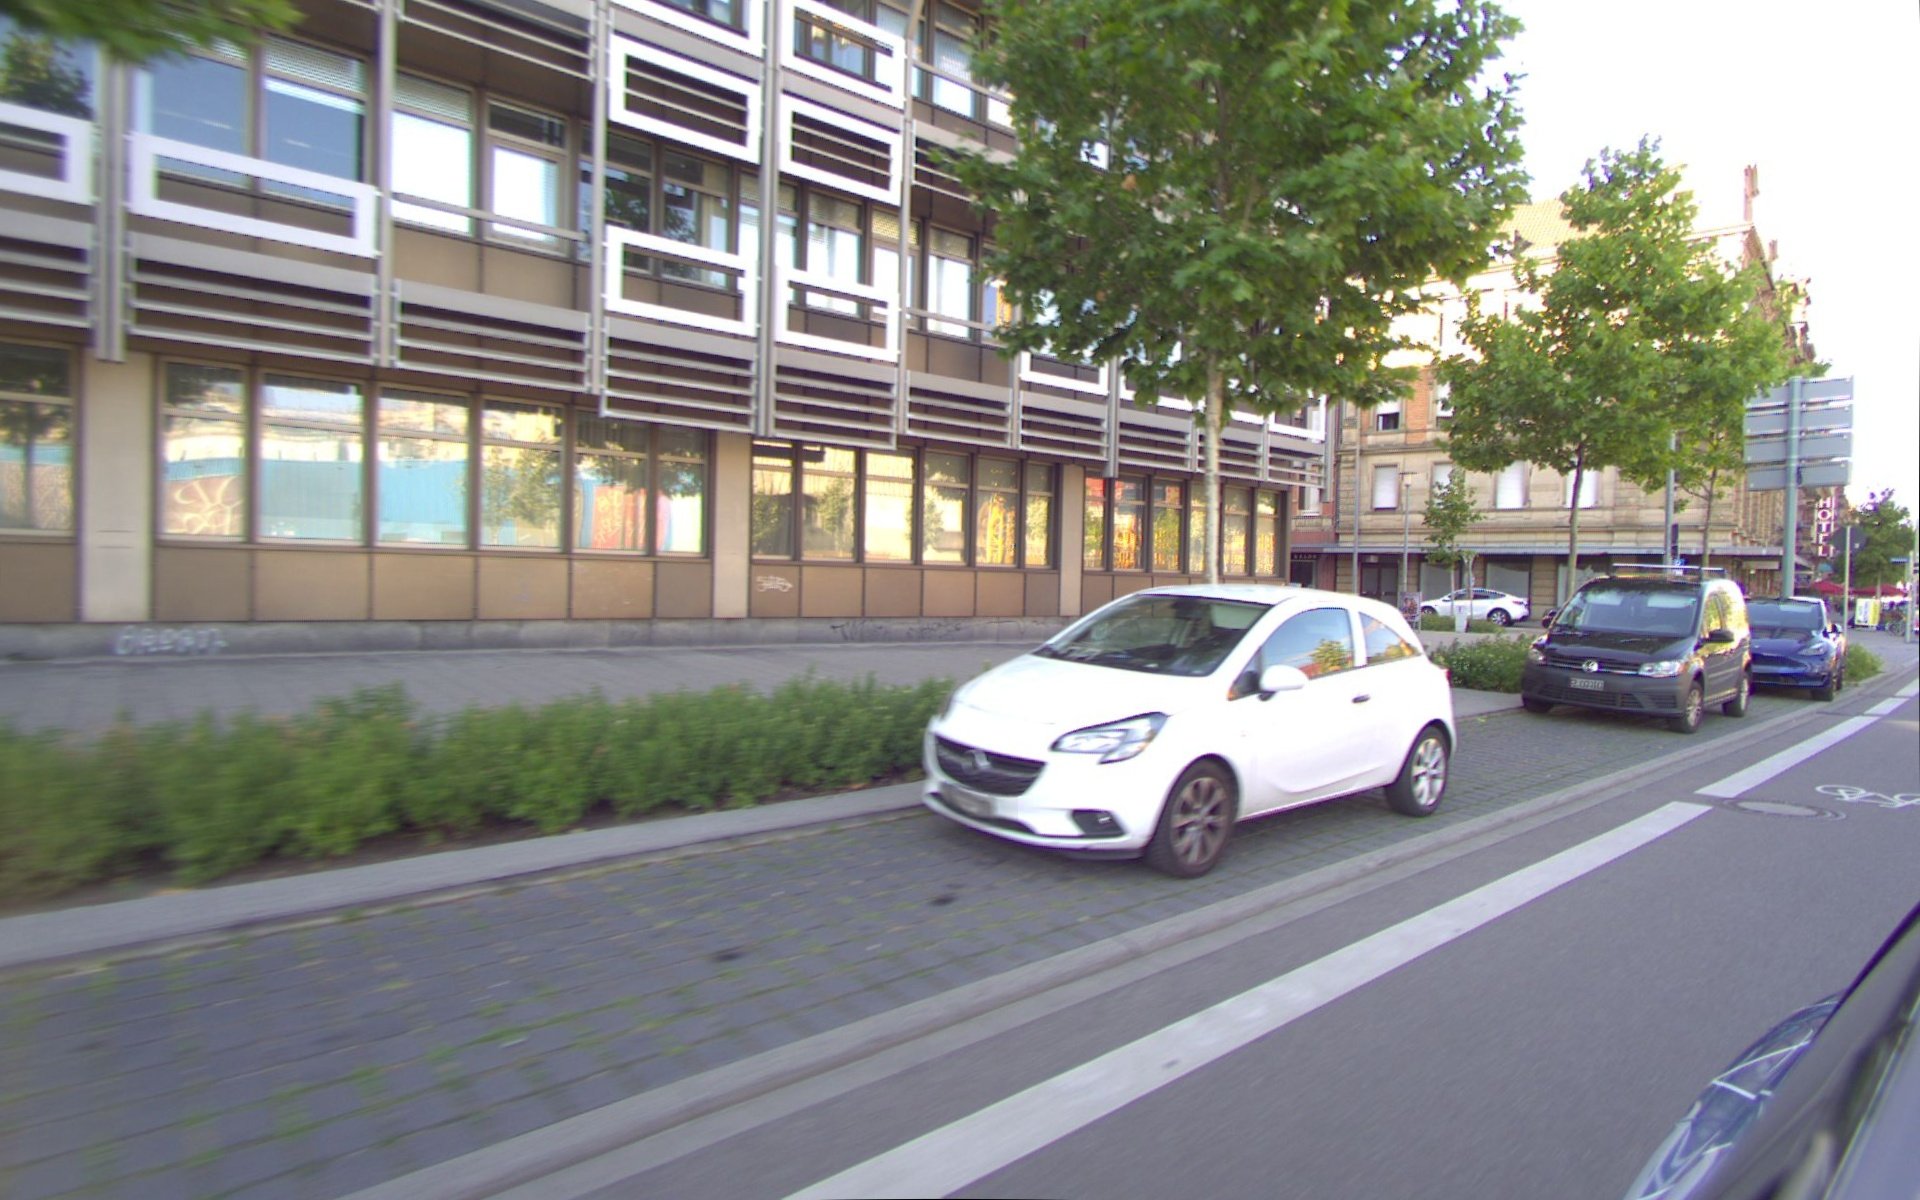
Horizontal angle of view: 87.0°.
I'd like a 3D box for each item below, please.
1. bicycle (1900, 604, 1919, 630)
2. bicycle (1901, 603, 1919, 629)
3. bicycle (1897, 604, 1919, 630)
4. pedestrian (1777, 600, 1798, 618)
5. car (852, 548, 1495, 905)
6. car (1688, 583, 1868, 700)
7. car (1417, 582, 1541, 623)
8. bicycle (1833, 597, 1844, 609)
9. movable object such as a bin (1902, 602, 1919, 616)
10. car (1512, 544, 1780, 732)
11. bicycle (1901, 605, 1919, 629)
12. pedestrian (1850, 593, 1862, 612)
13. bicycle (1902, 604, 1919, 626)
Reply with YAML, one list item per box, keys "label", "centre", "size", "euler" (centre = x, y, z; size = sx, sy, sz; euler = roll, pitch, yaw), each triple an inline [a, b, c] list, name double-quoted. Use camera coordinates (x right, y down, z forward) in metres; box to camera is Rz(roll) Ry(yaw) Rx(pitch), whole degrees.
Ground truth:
- label: "bicycle"
  centre: [43.735, 0.817, 45.690]
  size: [0.498, 1.117, 1.758]
  euler: [1, 4, -40]
- label: "bicycle"
  centre: [44.155, 0.772, 46.093]
  size: [0.498, 1.117, 1.758]
  euler: [1, 4, -40]
- label: "bicycle"
  centre: [44.904, 0.835, 47.128]
  size: [0.498, 1.117, 1.726]
  euler: [1, 4, -40]
- label: "pedestrian"
  centre: [46.127, 0.496, 56.397]
  size: [0.791, 0.974, 0.814]
  euler: [1, 2, -44]
- label: "car"
  centre: [1.538, 0.533, 6.339]
  size: [4.127, 1.508, 1.668]
  euler: [1, 3, -39]
- label: "car"
  centre: [14.078, 0.601, 17.311]
  size: [1.932, 1.618, 4.624]
  euler: [5, 3, 44]
- label: "car"
  centre: [22.592, 0.048, 44.111]
  size: [4.533, 1.615, 1.837]
  euler: [2, 2, 40]
- label: "bicycle"
  centre: [87.811, 0.304, 101.155]
  size: [0.704, 1.235, 2.040]
  euler: [1, 1, 43]
- label: "movable object such as a bin"
  centre: [68.647, 0.654, 73.104]
  size: [0.549, 0.935, 0.679]
  euler: [1, 4, -26]
- label: "car"
  centre: [8.774, 0.382, 12.797]
  size: [4.318, 1.942, 1.738]
  euler: [0, 3, -42]
- label: "bicycle"
  centre: [47.122, 0.863, 49.217]
  size: [0.556, 1.118, 1.849]
  euler: [1, 4, -40]
- label: "pedestrian"
  centre: [85.914, 0.189, 97.035]
  size: [0.747, 1.776, 1.055]
  euler: [4, 2, 44]
- label: "bicycle"
  centre: [48.125, 0.787, 50.318]
  size: [0.556, 1.060, 1.810]
  euler: [1, 4, -40]
